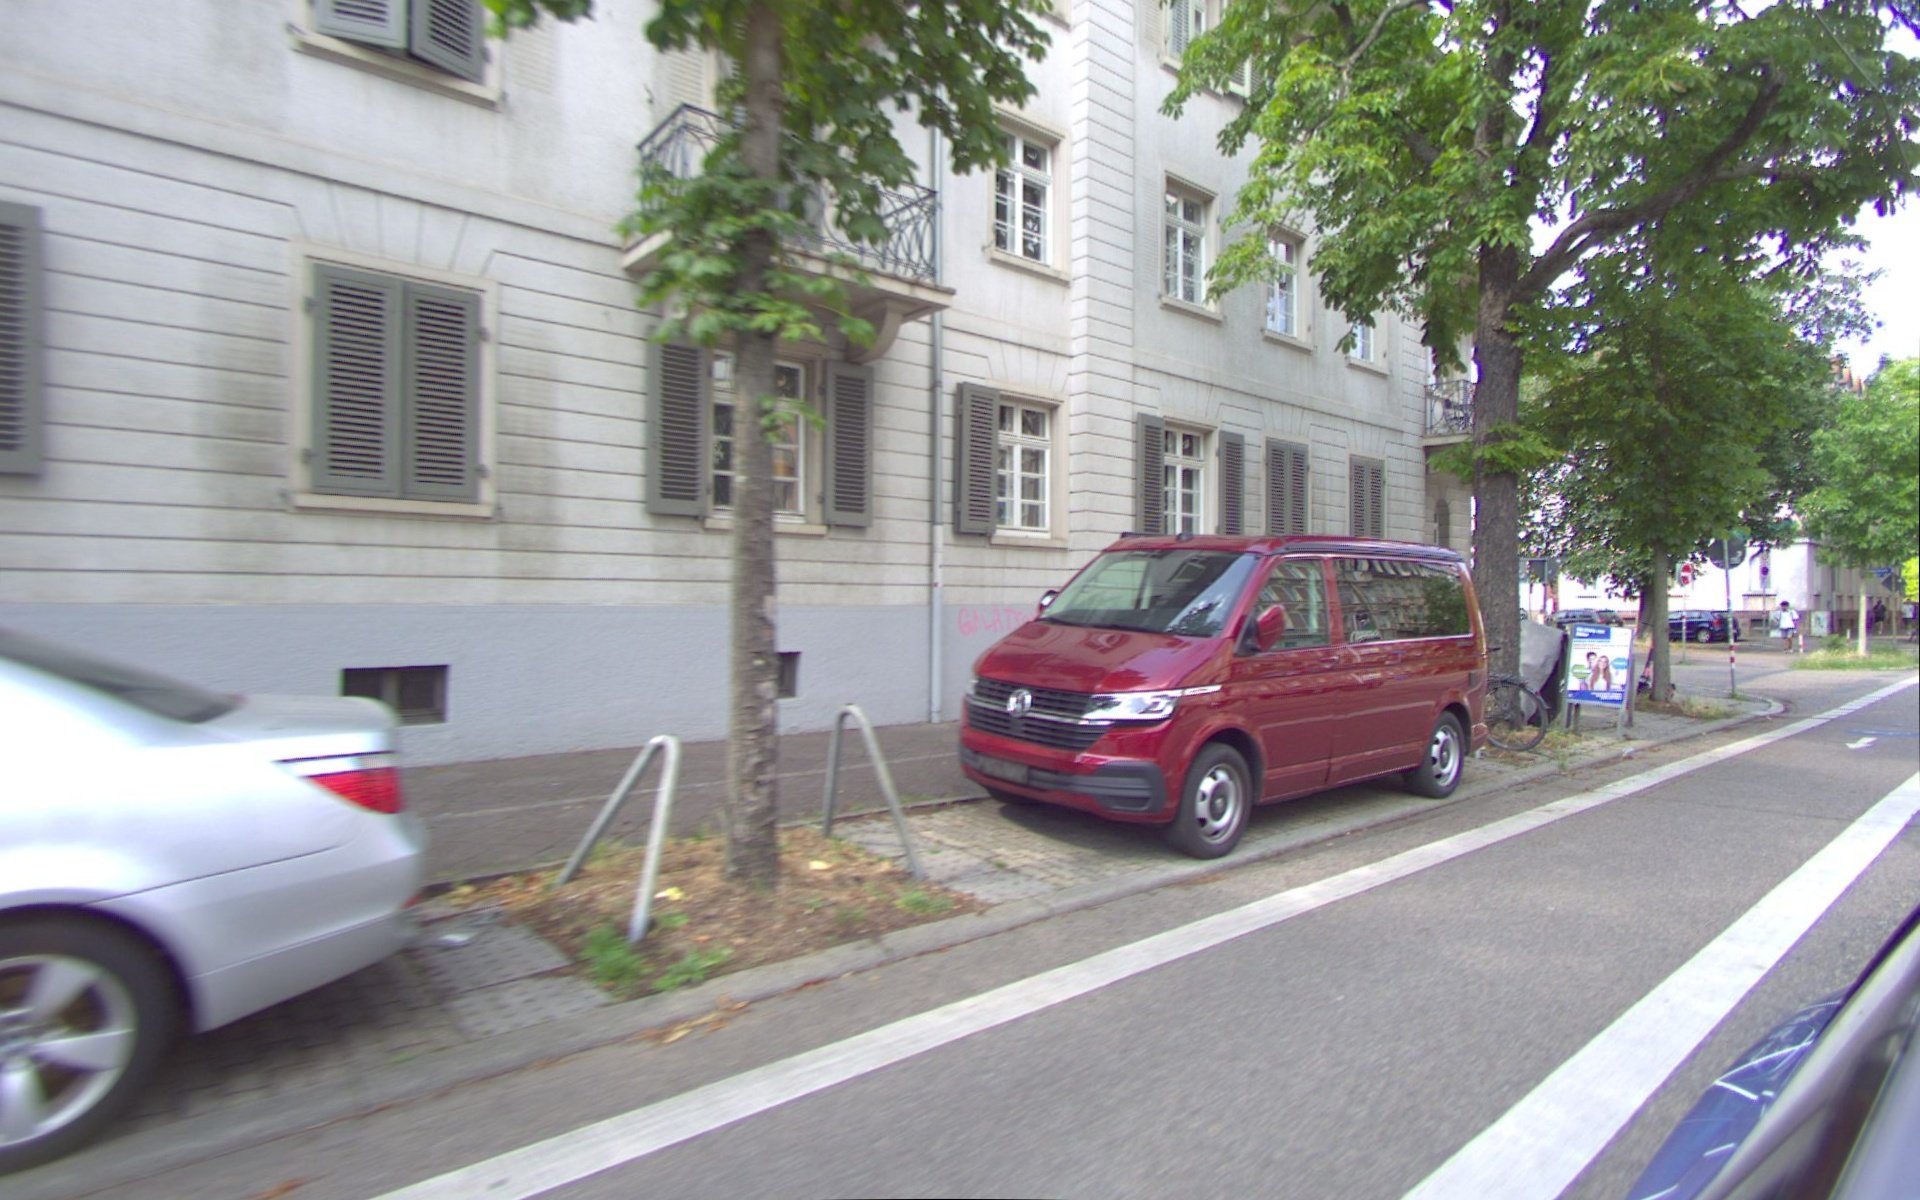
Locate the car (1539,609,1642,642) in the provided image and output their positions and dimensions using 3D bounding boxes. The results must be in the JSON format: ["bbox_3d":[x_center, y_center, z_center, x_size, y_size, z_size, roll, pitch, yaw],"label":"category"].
[{"bbox_3d":[30.425,1.201,48.989,1.695,1.470,4.264,0,0,-13],"label":"car"}]

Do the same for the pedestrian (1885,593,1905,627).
[{"bbox_3d":[46.551,0.495,50.383,0.959,1.660,0.581,1,-1,-41],"label":"pedestrian"}]

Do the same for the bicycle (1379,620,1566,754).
[{"bbox_3d":[5.186,0.834,10.316,0.580,1.218,1.612,0,0,-43],"label":"bicycle"}]

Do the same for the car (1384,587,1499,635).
[{"bbox_3d":[16.816,0.367,35.543,1.694,1.517,3.626,3,-1,-14],"label":"car"}]

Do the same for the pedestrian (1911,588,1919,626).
[{"bbox_3d":[47.515,0.356,50.110,0.675,1.876,0.505,1,-1,-41],"label":"pedestrian"}]

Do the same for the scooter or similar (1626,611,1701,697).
[{"bbox_3d":[11.051,0.815,15.885,1.689,1.267,0.533,0,0,-40],"label":"scooter or similar"}]

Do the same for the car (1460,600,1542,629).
[{"bbox_3d":[29.069,0.741,54.504,1.695,1.530,3.939,0,0,-13],"label":"car"}]

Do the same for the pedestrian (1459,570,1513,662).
[{"bbox_3d":[11.844,0.366,22.816,0.894,1.960,0.968,6,0,28],"label":"pedestrian"}]

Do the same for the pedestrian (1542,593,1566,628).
[{"bbox_3d":[32.093,0.549,54.709,0.810,1.857,0.732,0,-1,-10],"label":"pedestrian"}]

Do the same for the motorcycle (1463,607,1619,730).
[{"bbox_3d":[7.069,0.758,12.247,2.401,1.338,0.859,0,0,-40],"label":"motorcycle"}]

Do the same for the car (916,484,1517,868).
[{"bbox_3d":[2.163,0.382,7.510,4.864,1.965,1.898,0,0,-41],"label":"car"}]

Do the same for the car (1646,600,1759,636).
[{"bbox_3d":[31.762,0.720,43.410,1.695,1.470,3.582,0,0,-17],"label":"car"}]

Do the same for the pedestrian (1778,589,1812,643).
[{"bbox_3d":[28.877,0.550,34.992,1.010,1.857,0.620,0,-1,-34],"label":"pedestrian"}]

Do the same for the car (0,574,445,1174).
[{"bbox_3d":[-3.979,0.686,2.347,4.705,1.517,1.710,0,0,-41],"label":"car"}]
